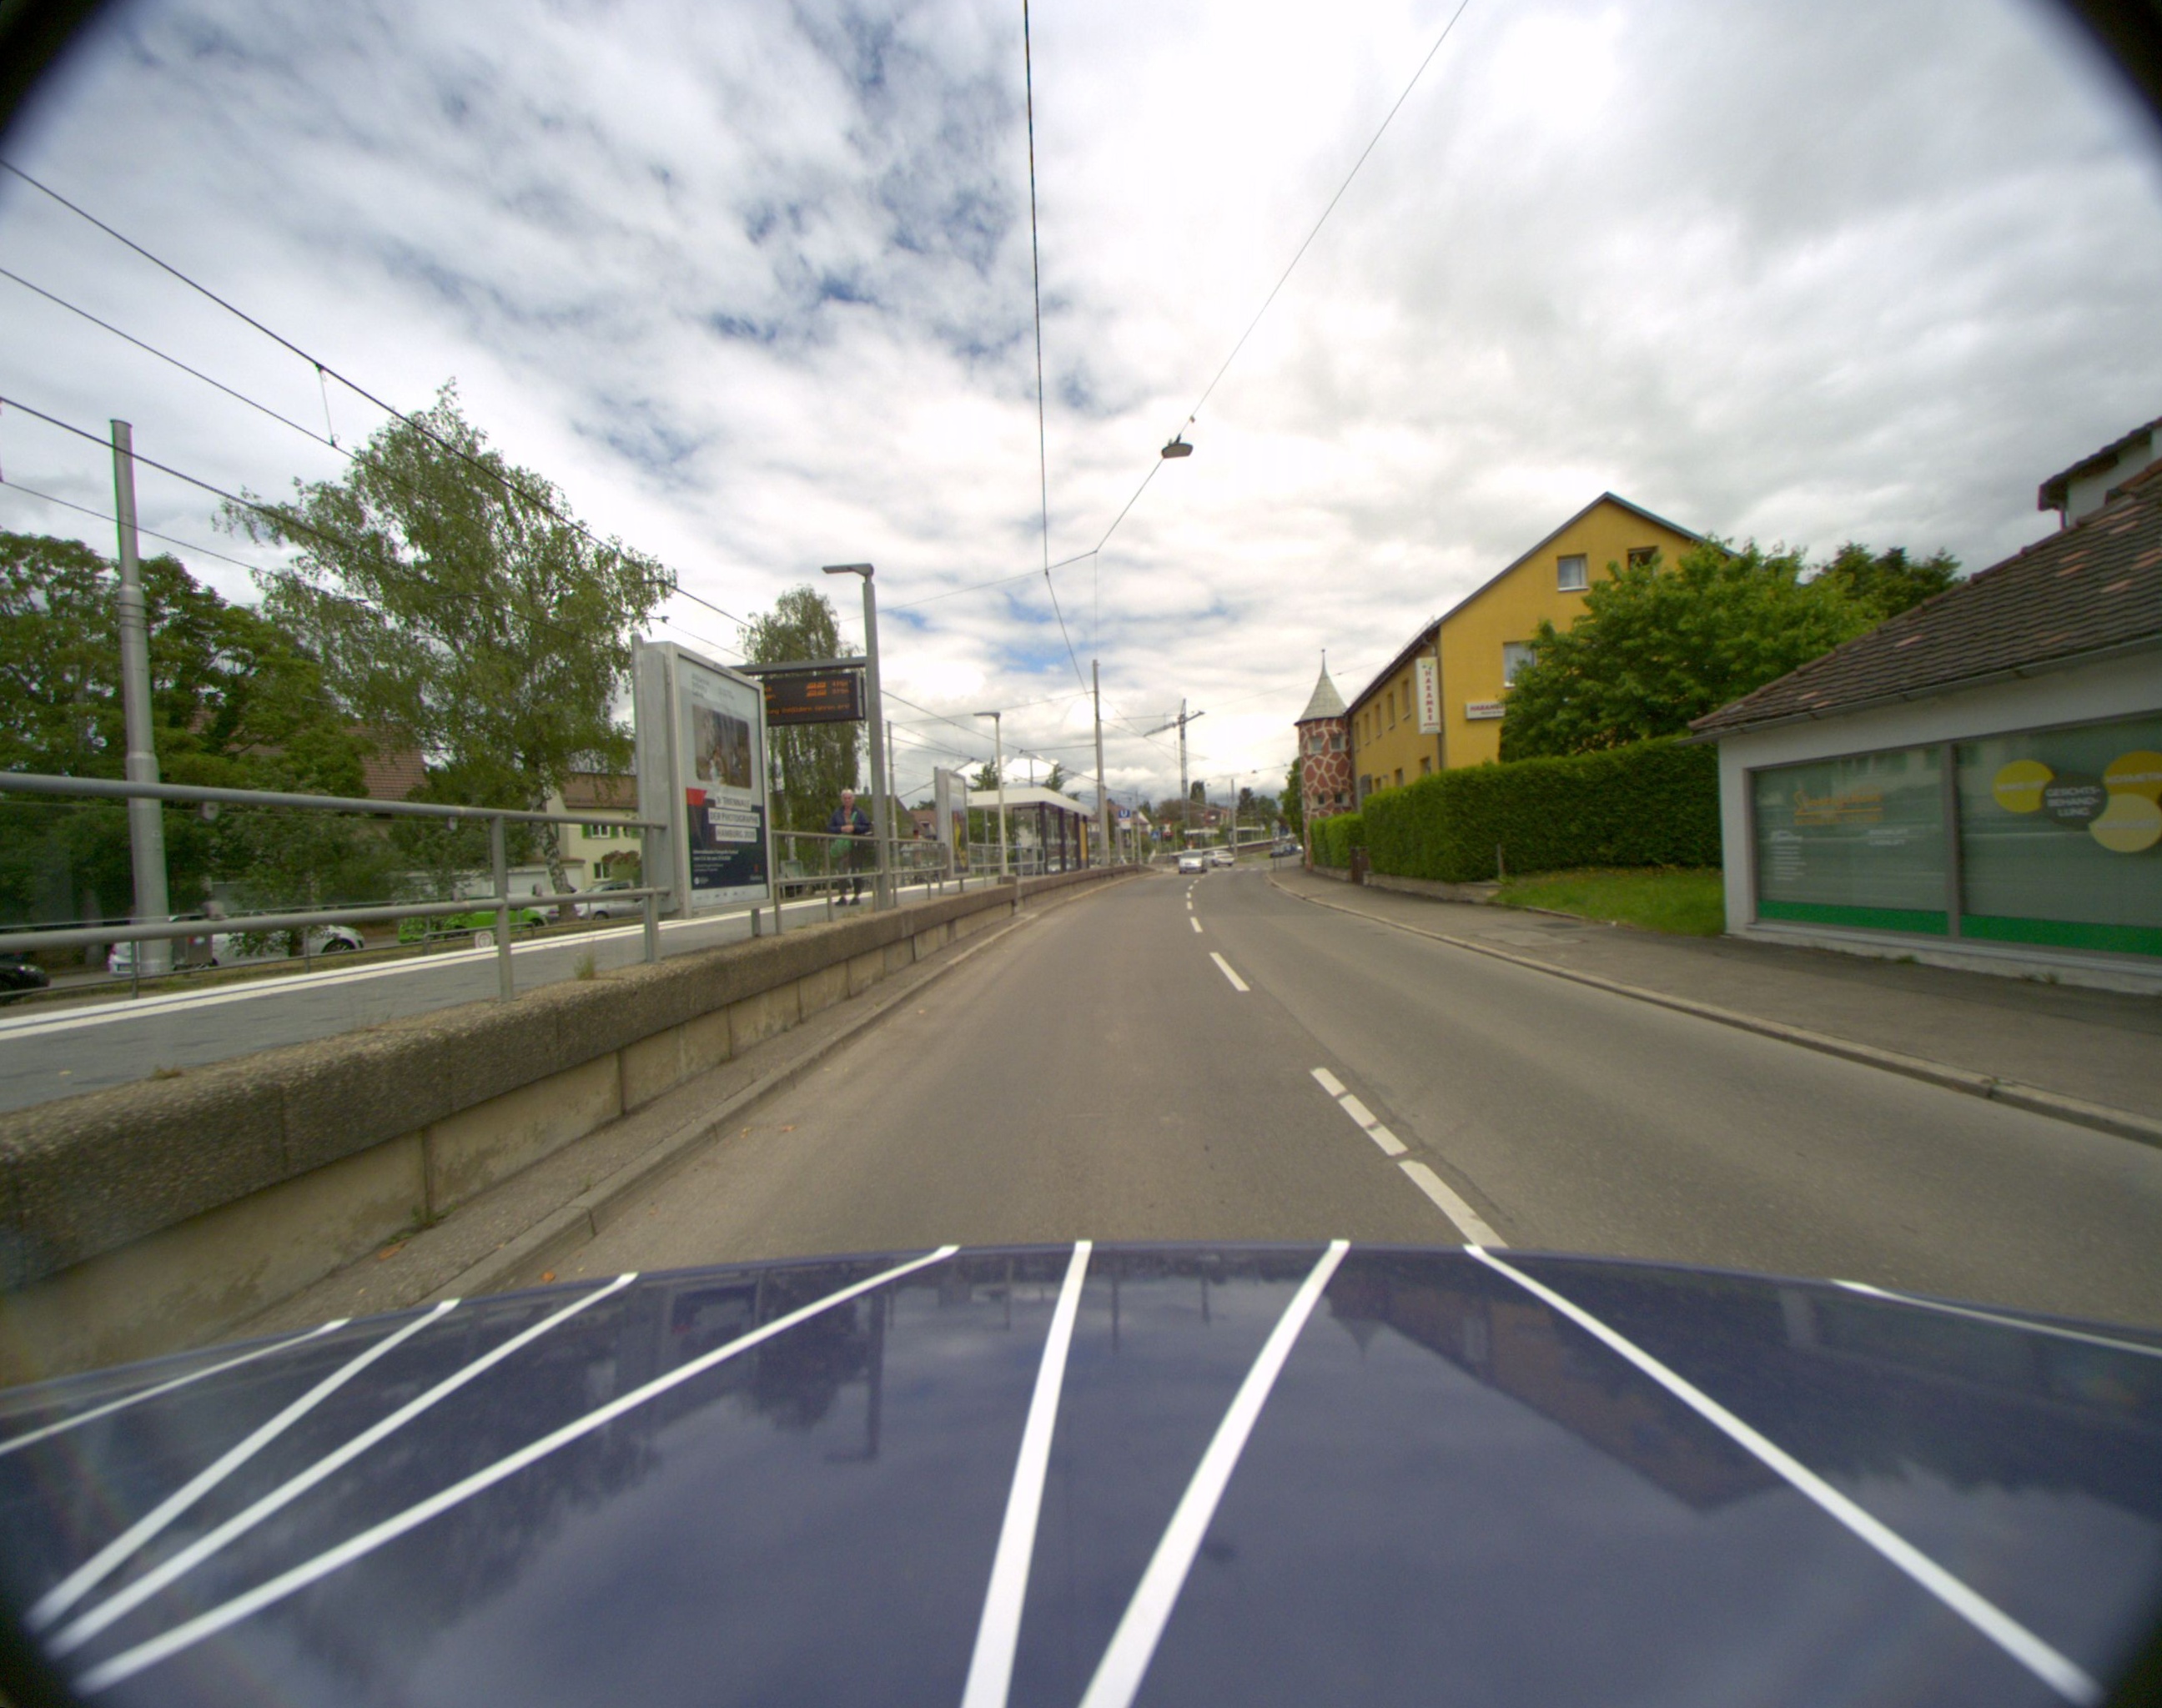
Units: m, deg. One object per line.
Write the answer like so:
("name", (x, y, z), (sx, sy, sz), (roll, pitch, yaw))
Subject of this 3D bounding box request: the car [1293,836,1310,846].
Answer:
("car", (32.969, -1.912, 113.464), (1.850, 1.368, 4.006), (-3, 1, 25))

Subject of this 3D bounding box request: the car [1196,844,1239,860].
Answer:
("car", (12.560, -0.199, 70.261), (1.826, 1.411, 4.454), (-1, 1, -23))

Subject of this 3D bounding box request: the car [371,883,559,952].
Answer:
("car", (-17.840, 1.792, 22.280), (1.733, 1.565, 4.003), (-3, 1, 11))

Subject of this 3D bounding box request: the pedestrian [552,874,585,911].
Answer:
("pedestrian", (-24.653, 1.852, 36.570), (0.809, 1.676, 0.949), (-3, 1, 11))

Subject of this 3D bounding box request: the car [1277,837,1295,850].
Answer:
("car", (28.149, -1.462, 104.109), (1.818, 1.493, 4.125), (-4, 1, 23))

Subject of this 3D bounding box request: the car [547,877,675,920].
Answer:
("car", (-22.202, 2.052, 36.109), (1.817, 1.626, 4.847), (-3, 1, 27))

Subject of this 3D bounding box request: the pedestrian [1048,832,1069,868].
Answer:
("pedestrian", (-0.847, -0.151, 28.740), (0.621, 1.291, 0.720), (-3, 1, 6))

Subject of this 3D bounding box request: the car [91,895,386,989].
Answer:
("car", (-18.886, 1.897, 17.354), (1.759, 1.565, 4.102), (-3, 1, 11))

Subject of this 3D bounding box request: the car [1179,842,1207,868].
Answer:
("car", (7.725, 0.040, 52.032), (1.724, 1.559, 3.930), (-4, 0, 10))

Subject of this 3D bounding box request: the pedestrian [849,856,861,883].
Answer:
("pedestrian", (-16.341, 1.129, 54.942), (0.625, 1.903, 0.830), (-3, 0, -7))

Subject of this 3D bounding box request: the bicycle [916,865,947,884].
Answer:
("bicycle", (-9.439, 1.294, 48.024), (1.767, 1.036, 0.557), (-3, 1, 17))

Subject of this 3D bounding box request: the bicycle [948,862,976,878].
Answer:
("bicycle", (-8.123, 1.101, 51.900), (1.767, 1.036, 0.557), (-3, 1, 17))

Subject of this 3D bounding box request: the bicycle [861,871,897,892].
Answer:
("bicycle", (-11.026, 1.504, 41.554), (1.768, 1.036, 0.557), (-3, 1, 8))

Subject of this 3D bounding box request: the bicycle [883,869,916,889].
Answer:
("bicycle", (-10.539, 1.441, 44.081), (1.767, 1.036, 0.557), (-3, 1, 17))

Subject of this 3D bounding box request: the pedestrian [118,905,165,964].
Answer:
("pedestrian", (-29.658, 2.515, 24.005), (0.685, 1.761, 0.825), (-4, 1, -39))

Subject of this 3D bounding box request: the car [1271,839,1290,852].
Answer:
("car", (25.784, -1.059, 98.027), (1.818, 1.493, 4.125), (-4, 1, 23))

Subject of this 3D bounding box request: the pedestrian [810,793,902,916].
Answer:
("pedestrian", (-3.218, 0.008, 10.949), (0.887, 1.661, 0.910), (-3, 1, 8))

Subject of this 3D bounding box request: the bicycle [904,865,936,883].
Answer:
("bicycle", (-9.857, 1.223, 46.489), (1.767, 1.036, 0.557), (-3, 1, 17))

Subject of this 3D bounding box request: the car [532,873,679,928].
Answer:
("car", (-16.960, 1.599, 27.396), (2.067, 1.565, 4.263), (-3, 1, 11))

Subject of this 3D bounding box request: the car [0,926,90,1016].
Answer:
("car", (-20.427, 2.202, 12.569), (1.842, 1.479, 4.507), (-3, 1, 22))
